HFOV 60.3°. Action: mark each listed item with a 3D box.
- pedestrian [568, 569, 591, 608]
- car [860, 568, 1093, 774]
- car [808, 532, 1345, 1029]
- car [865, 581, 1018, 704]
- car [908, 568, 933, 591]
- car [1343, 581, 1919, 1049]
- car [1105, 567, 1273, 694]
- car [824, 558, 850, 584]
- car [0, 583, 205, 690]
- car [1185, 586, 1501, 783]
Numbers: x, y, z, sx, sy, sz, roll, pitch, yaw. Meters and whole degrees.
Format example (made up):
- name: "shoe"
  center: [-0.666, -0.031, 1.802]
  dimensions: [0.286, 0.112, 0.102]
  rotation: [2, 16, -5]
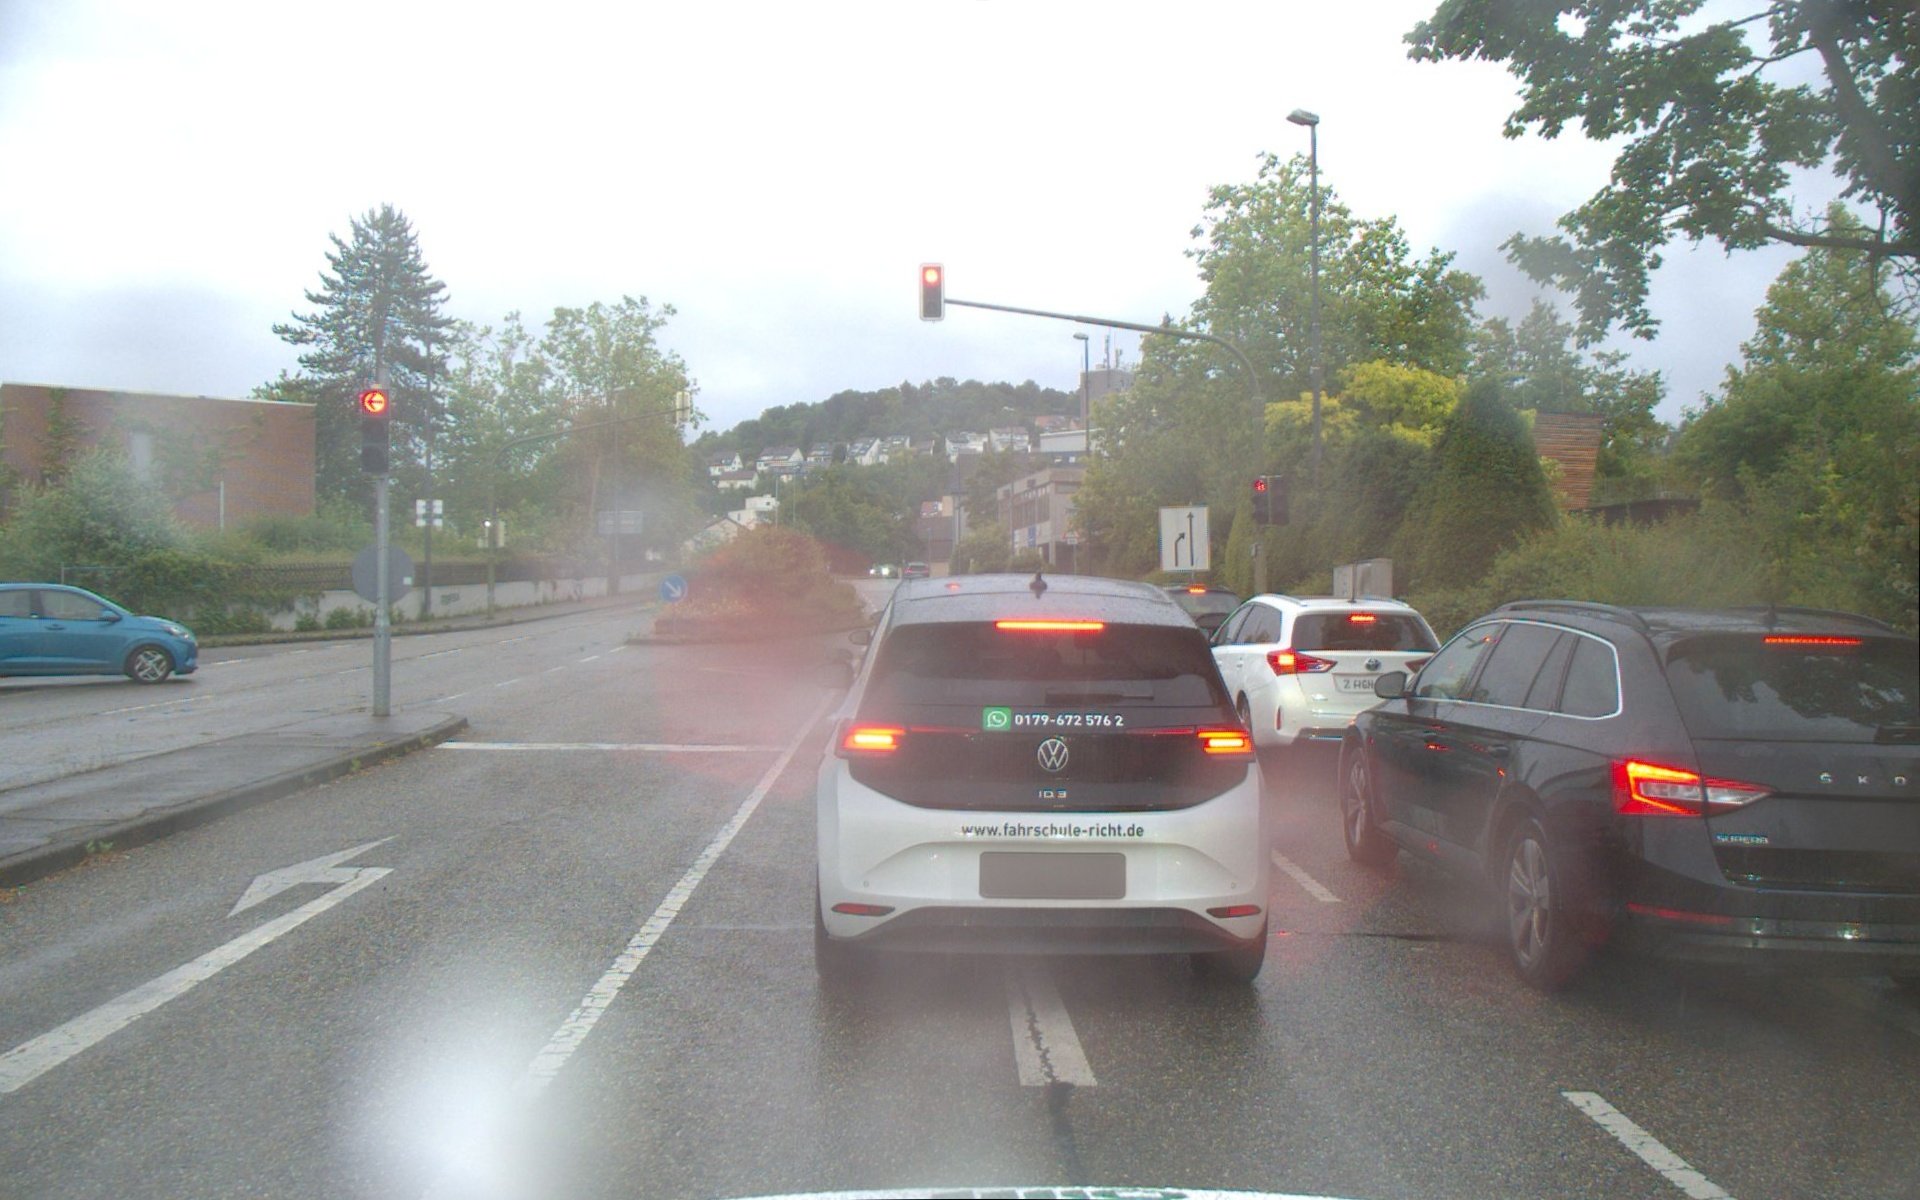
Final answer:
- name: "pedestrian"
  center: [-15.975, -0.498, 69.445]
  dimensions: [0.744, 1.595, 0.825]
  rotation: [-2, 0, -2]
- name: "car"
  center: [0.086, 0.536, 15.113]
  dimensions: [1.800, 1.582, 4.174]
  rotation: [1, 1, -1]
- name: "car"
  center: [0.347, 0.590, 7.946]
  dimensions: [1.800, 1.657, 4.614]
  rotation: [1, 1, -1]
- name: "car"
  center: [-0.265, 0.491, 21.692]
  dimensions: [1.800, 1.424, 3.830]
  rotation: [1, 1, -1]
- name: "car"
  center: [-2.929, -1.494, 122.021]
  dimensions: [1.739, 1.609, 3.999]
  rotation: [-2, 0, -1]
- name: "car"
  center: [3.142, 0.683, 7.528]
  dimensions: [1.800, 1.492, 4.350]
  rotation: [1, 1, 1]
- name: "car"
  center: [3.131, 0.394, 23.349]
  dimensions: [1.739, 1.609, 3.999]
  rotation: [1, 0, -1]
- name: "car"
  center: [-10.370, -2.448, 139.914]
  dimensions: [1.953, 2.049, 3.999]
  rotation: [1, -1, -1]
- name: "car"
  center: [-13.178, 0.515, 24.239]
  dimensions: [3.698, 1.443, 1.749]
  rotation: [-2, 1, -30]
- name: "car"
  center: [3.289, 0.648, 15.036]
  dimensions: [1.800, 1.492, 4.116]
  rotation: [1, 1, -1]
